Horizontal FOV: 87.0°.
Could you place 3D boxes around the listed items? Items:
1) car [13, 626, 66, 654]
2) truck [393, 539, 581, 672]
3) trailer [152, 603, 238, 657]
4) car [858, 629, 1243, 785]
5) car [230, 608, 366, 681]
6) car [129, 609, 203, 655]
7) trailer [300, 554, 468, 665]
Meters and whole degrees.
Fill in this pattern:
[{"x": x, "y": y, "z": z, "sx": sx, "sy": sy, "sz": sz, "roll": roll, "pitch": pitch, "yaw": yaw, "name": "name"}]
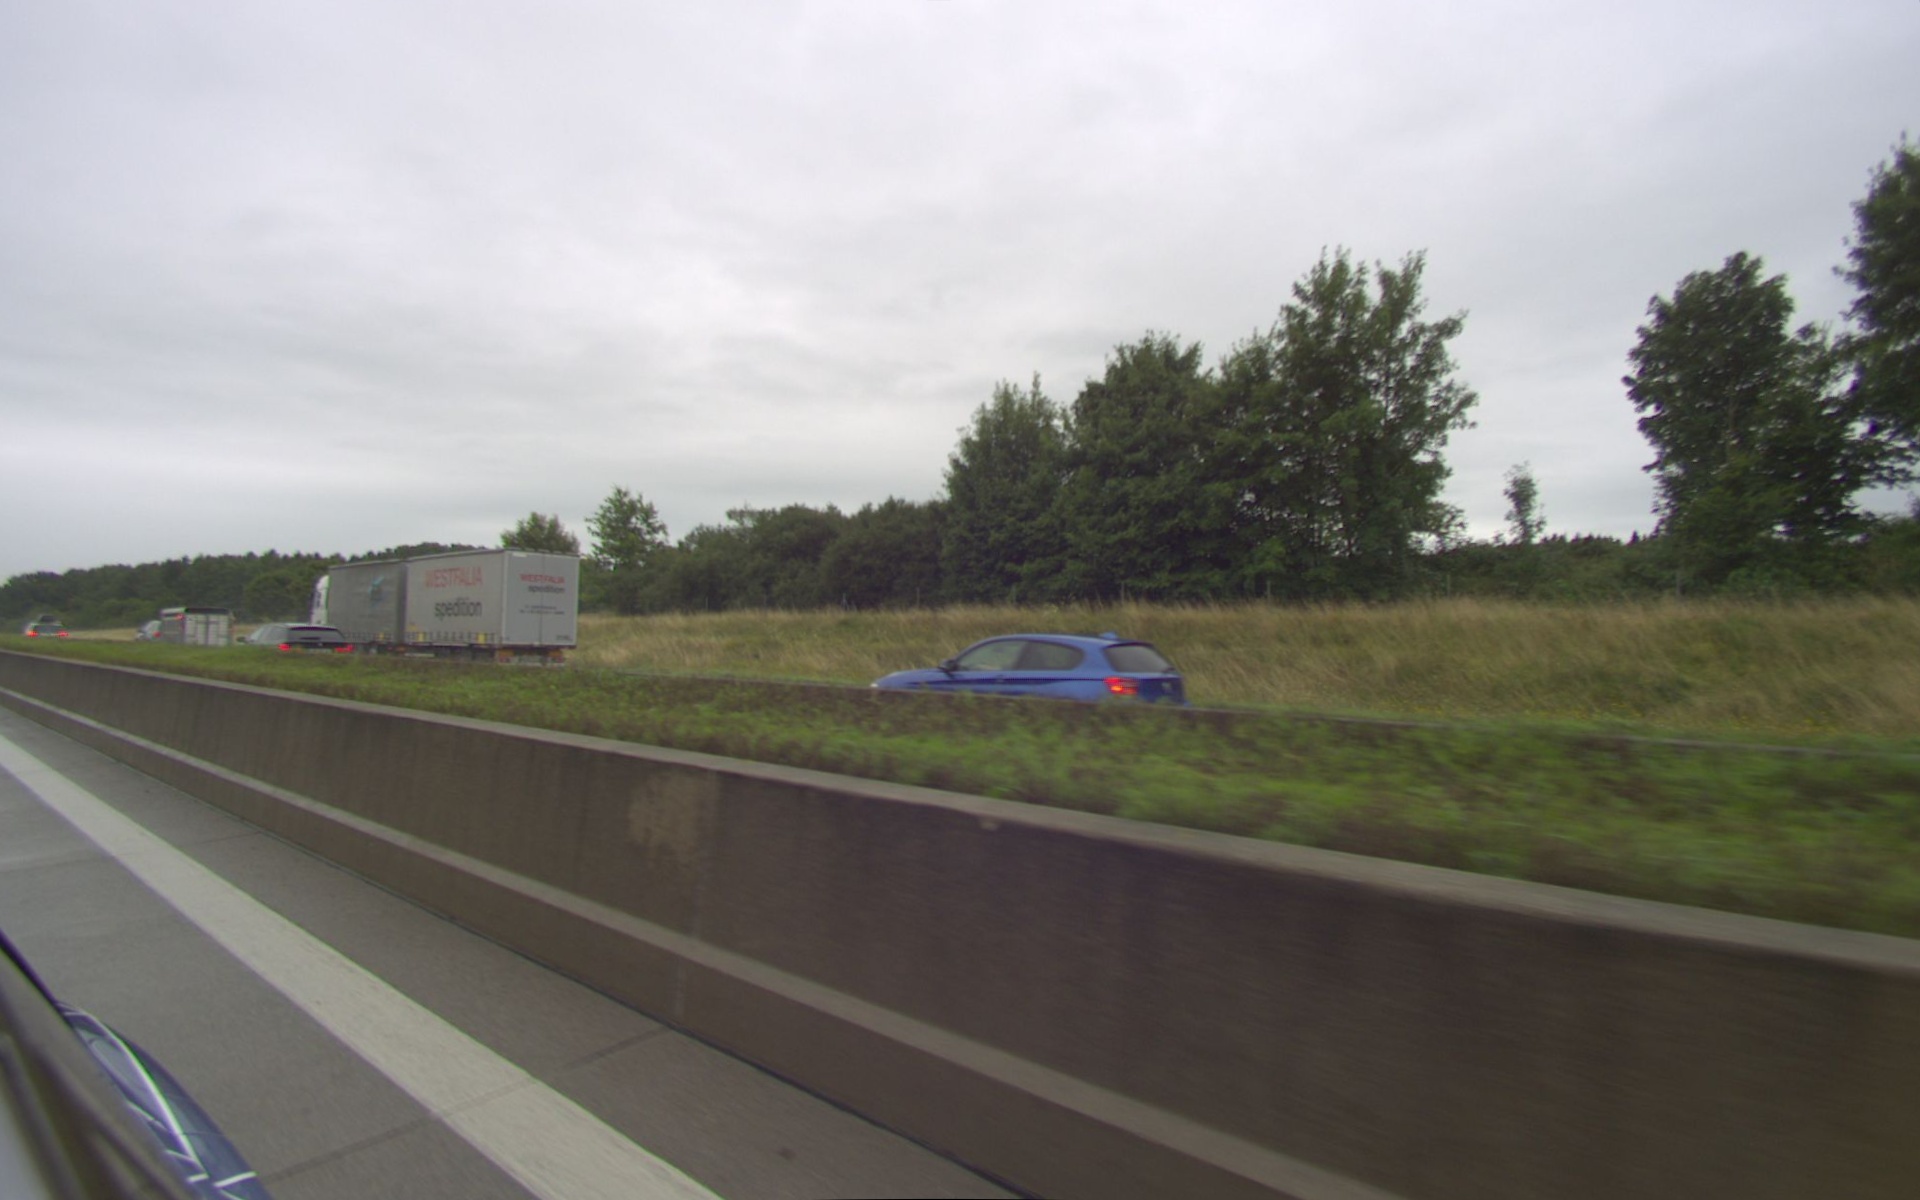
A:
[{"x": -52.662, "y": 2.263, "z": 57.902, "sx": 4.446, "sy": 1.480, "sz": 1.737, "roll": -1, "pitch": -1, "yaw": 41, "name": "car"}, {"x": -16.716, "y": 0.322, "z": 35.405, "sx": 8.587, "sy": 4.172, "sz": 2.557, "roll": -2, "pitch": -4, "yaw": 41, "name": "truck"}, {"x": -35.732, "y": 1.396, "z": 47.218, "sx": 5.831, "sy": 2.391, "sz": 2.017, "roll": -1, "pitch": -2, "yaw": 41, "name": "trailer"}, {"x": 0.916, "y": 1.116, "z": 12.040, "sx": 4.463, "sy": 1.528, "sz": 1.646, "roll": -2, "pitch": -2, "yaw": 41, "name": "car"}, {"x": -16.947, "y": 1.091, "z": 25.812, "sx": 4.452, "sy": 1.699, "sz": 1.742, "roll": -1, "pitch": -2, "yaw": 41, "name": "car"}, {"x": -39.900, "y": 1.603, "z": 50.806, "sx": 5.204, "sy": 2.197, "sz": 1.973, "roll": -1, "pitch": -1, "yaw": 41, "name": "car"}, {"x": -23.899, "y": 0.553, "z": 41.667, "sx": 10.368, "sy": 4.078, "sz": 2.559, "roll": -2, "pitch": -5, "yaw": 41, "name": "trailer"}]
